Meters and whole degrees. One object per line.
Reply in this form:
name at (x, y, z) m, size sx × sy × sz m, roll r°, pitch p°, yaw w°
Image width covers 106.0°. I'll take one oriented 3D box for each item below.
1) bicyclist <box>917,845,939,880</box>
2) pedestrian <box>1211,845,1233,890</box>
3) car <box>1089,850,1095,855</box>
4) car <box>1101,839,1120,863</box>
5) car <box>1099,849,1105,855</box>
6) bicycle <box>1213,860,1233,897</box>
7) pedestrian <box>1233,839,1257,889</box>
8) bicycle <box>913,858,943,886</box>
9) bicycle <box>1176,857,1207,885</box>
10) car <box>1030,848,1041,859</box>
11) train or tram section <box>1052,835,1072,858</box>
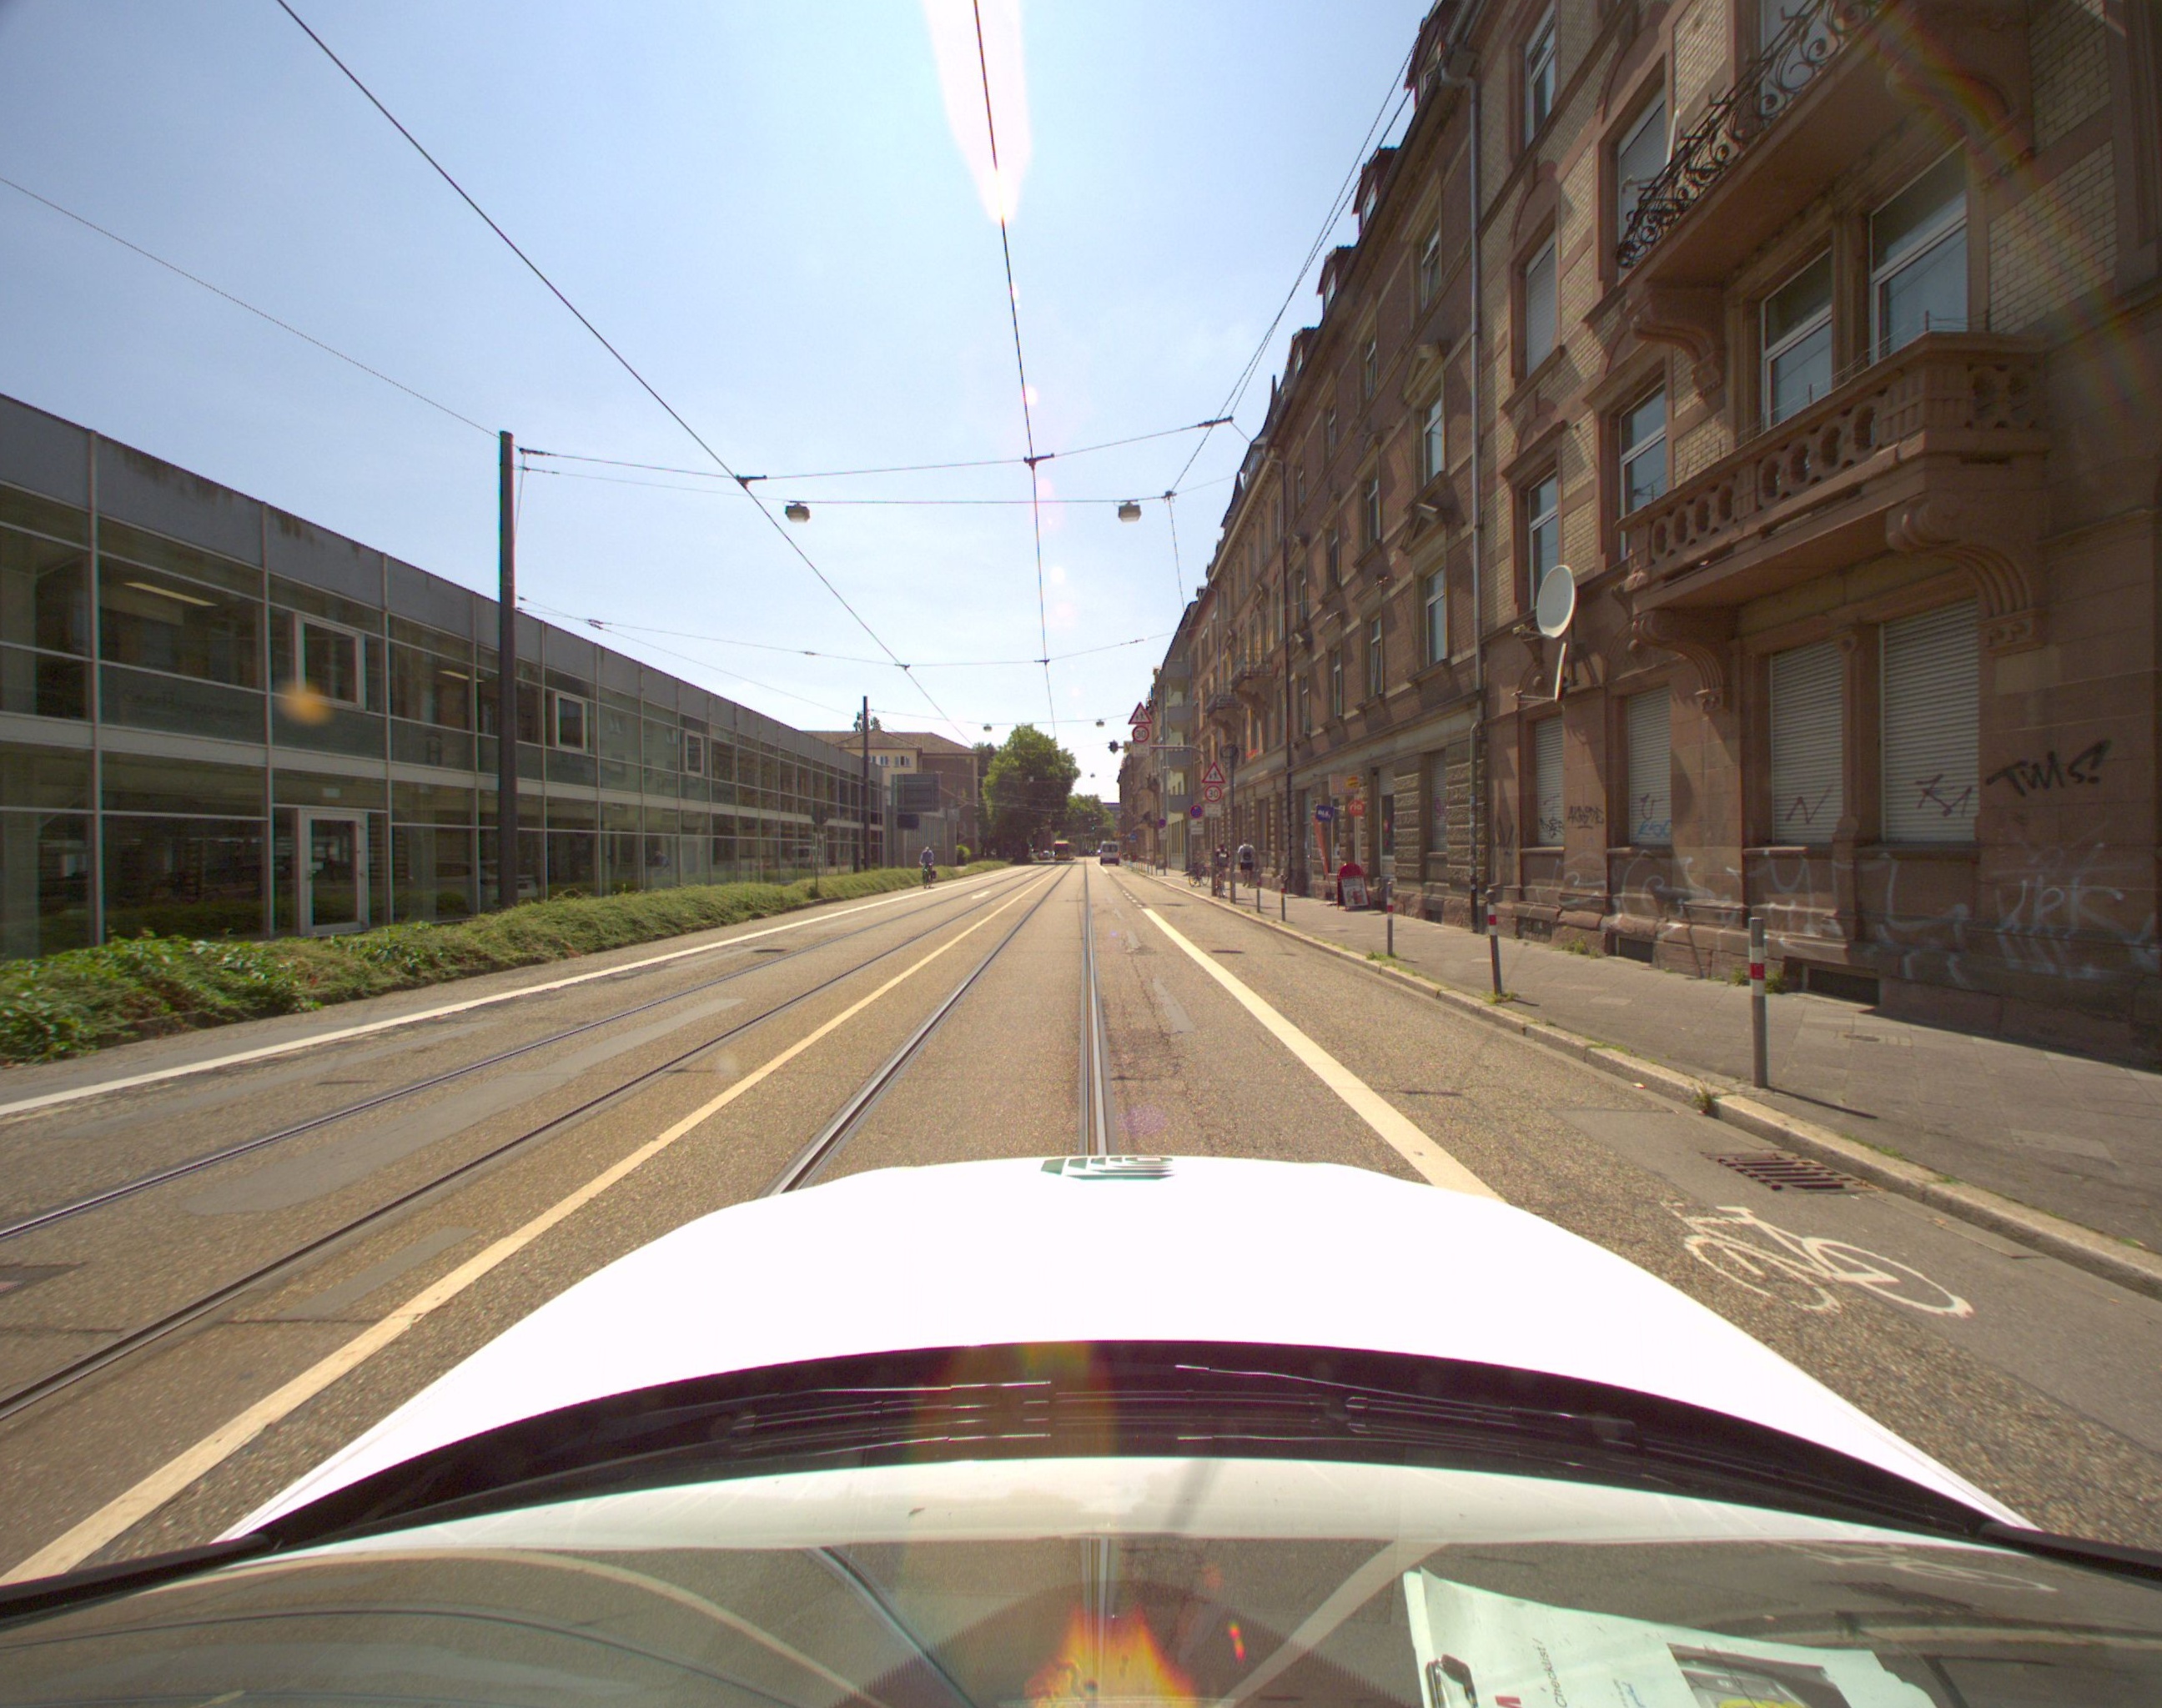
bicyclist at (-6.814, 0.364, 36.315) m, size 0.695 × 1.548 × 0.981 m, roll -1°, pitch 0°, yaw 3°
pedestrian at (5.460, 0.513, 31.602) m, size 0.717 × 1.720 × 0.644 m, roll -1°, pitch 0°, yaw 1°
car at (3.333, -0.506, 242.892) m, size 1.524 × 1.408 × 3.487 m, roll 0°, pitch 0°, yaw -2°
car at (3.157, -0.298, 88.294) m, size 2.060 × 2.501 × 5.456 m, roll 0°, pitch 0°, yaw 1°
car at (6.417, -0.508, 251.018) m, size 1.670 × 1.860 × 3.996 m, roll 0°, pitch 0°, yaw -2°
bicycle at (4.547, 0.749, 26.235) m, size 0.445 × 1.097 × 2.427 m, roll -1°, pitch 0°, yaw 6°
pedestrian at (6.321, 0.384, 31.432) m, size 0.700 × 1.848 × 0.644 m, roll -5°, pitch 0°, yaw 1°
bicycle at (-6.796, 0.776, 36.348) m, size 0.695 × 1.144 × 2.498 m, roll -1°, pitch 0°, yaw 4°
bicycle at (4.667, 0.701, 34.228) m, size 0.494 × 1.130 × 2.257 m, roll -1°, pitch 0°, yaw 29°
car at (-7.740, -0.097, 138.258) m, size 1.796 × 1.923 × 3.997 m, roll 0°, pitch 0°, yaw -2°
train or tram section at (-3.123, -1.184, 135.570) m, size 2.951 × 3.580 × 13.421 m, roll -1°, pitch 0°, yaw 0°
